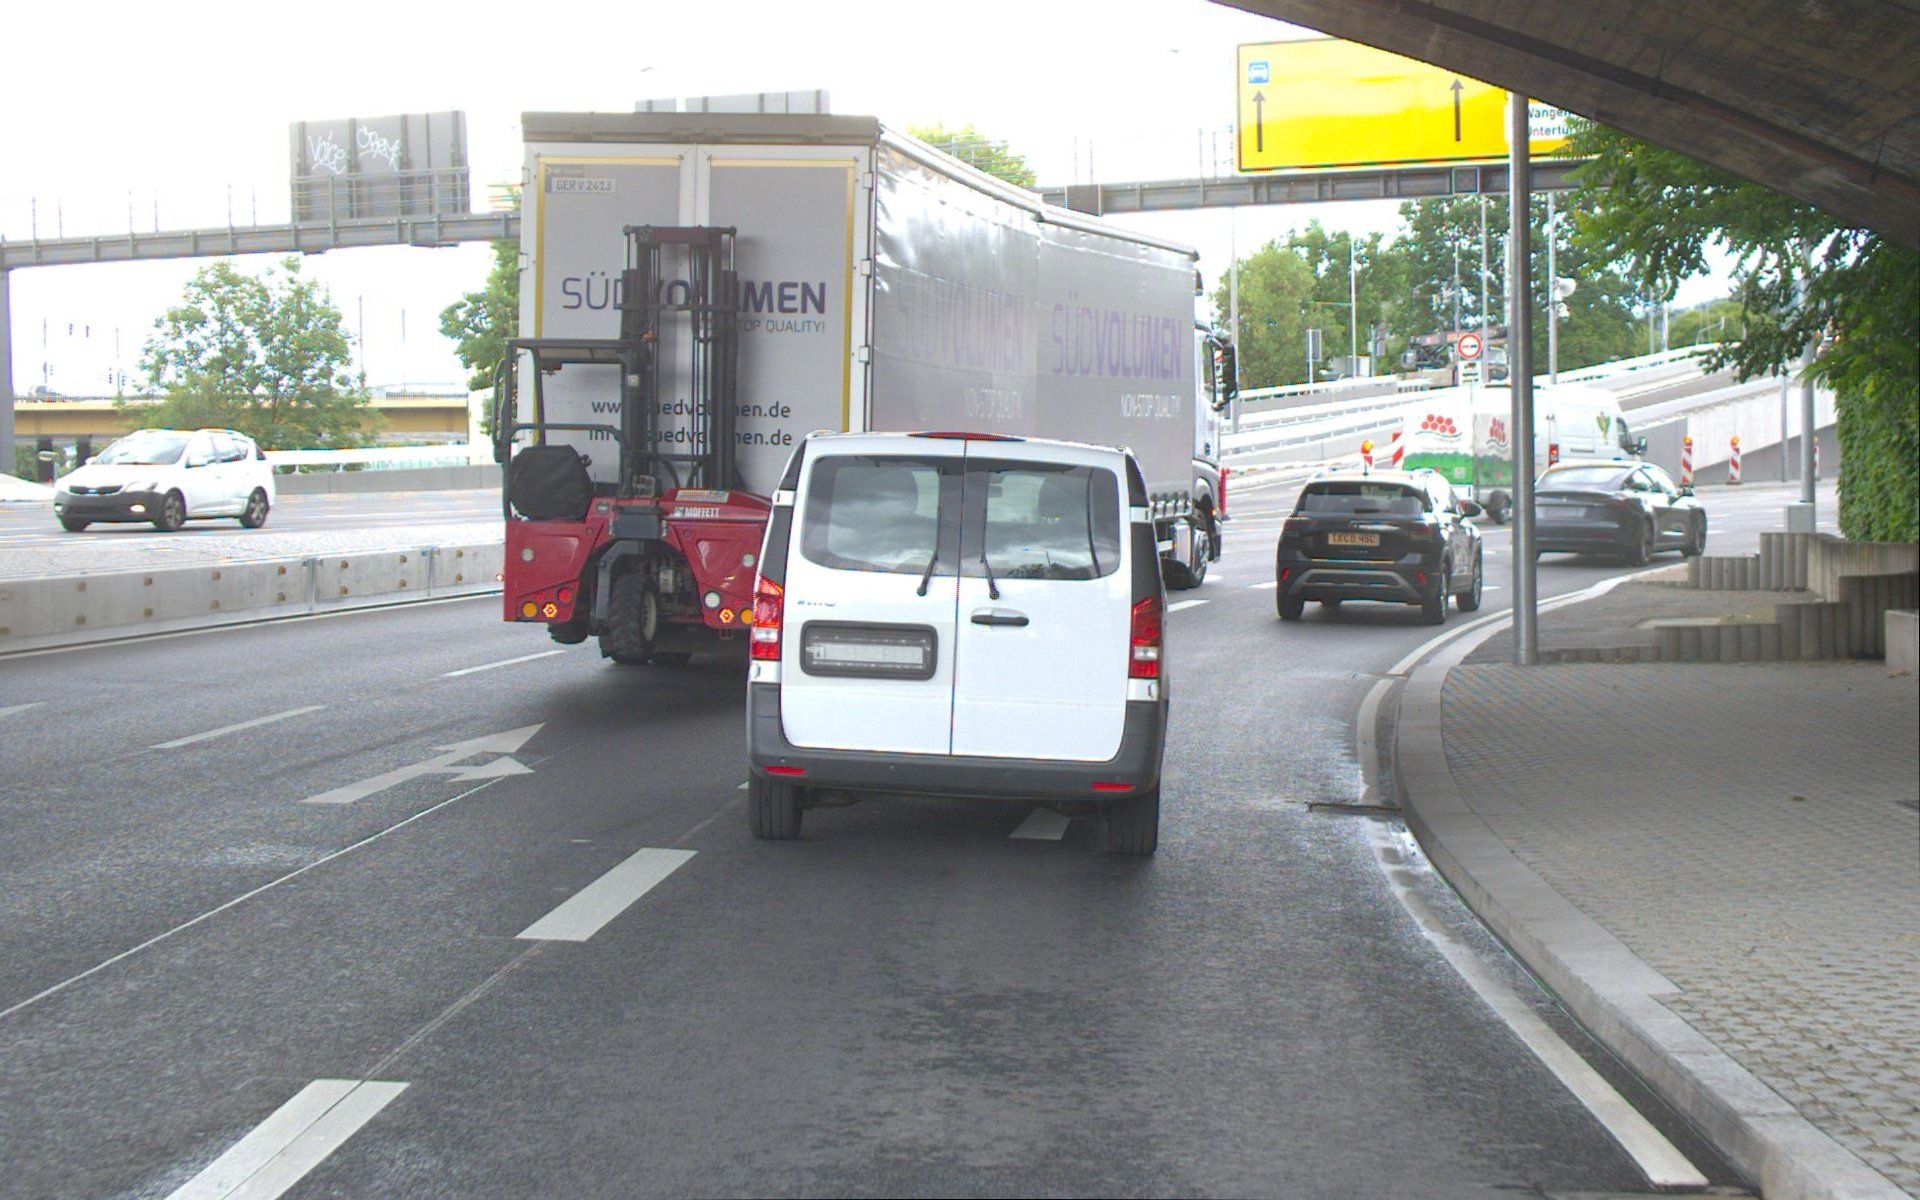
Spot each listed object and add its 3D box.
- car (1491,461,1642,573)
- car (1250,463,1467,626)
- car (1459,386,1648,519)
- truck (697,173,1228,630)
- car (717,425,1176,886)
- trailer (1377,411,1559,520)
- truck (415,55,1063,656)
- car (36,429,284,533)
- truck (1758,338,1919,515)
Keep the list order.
[{"bbox_3d":[8.611,-1.143,48.616,1.502,1.464,3.395,-3,-1,20],"label":"car"},{"bbox_3d":[4.297,-0.627,36.655,1.750,1.619,3.842,-1,2,15],"label":"car"},{"bbox_3d":[11.932,-2.946,68.838,1.997,2.533,5.166,3,3,30],"label":"car"},{"bbox_3d":[0.416,-2.011,37.141,2.989,4.161,11.234,2,2,14],"label":"truck"},{"bbox_3d":[-0.033,0.168,16.866,1.876,1.884,4.753,2,2,1],"label":"car"},{"bbox_3d":[9.606,-2.532,64.848,1.997,1.950,4.072,3,3,30],"label":"trailer"},{"bbox_3d":[-1.373,-1.825,28.217,2.919,4.003,10.197,2,2,10],"label":"truck"},{"bbox_3d":[-12.004,-1.813,51.911,1.857,1.481,4.541,1,2,13],"label":"car"},{"bbox_3d":[23.150,-4.047,82.139,3.322,3.796,16.567,2,3,29],"label":"truck"}]
